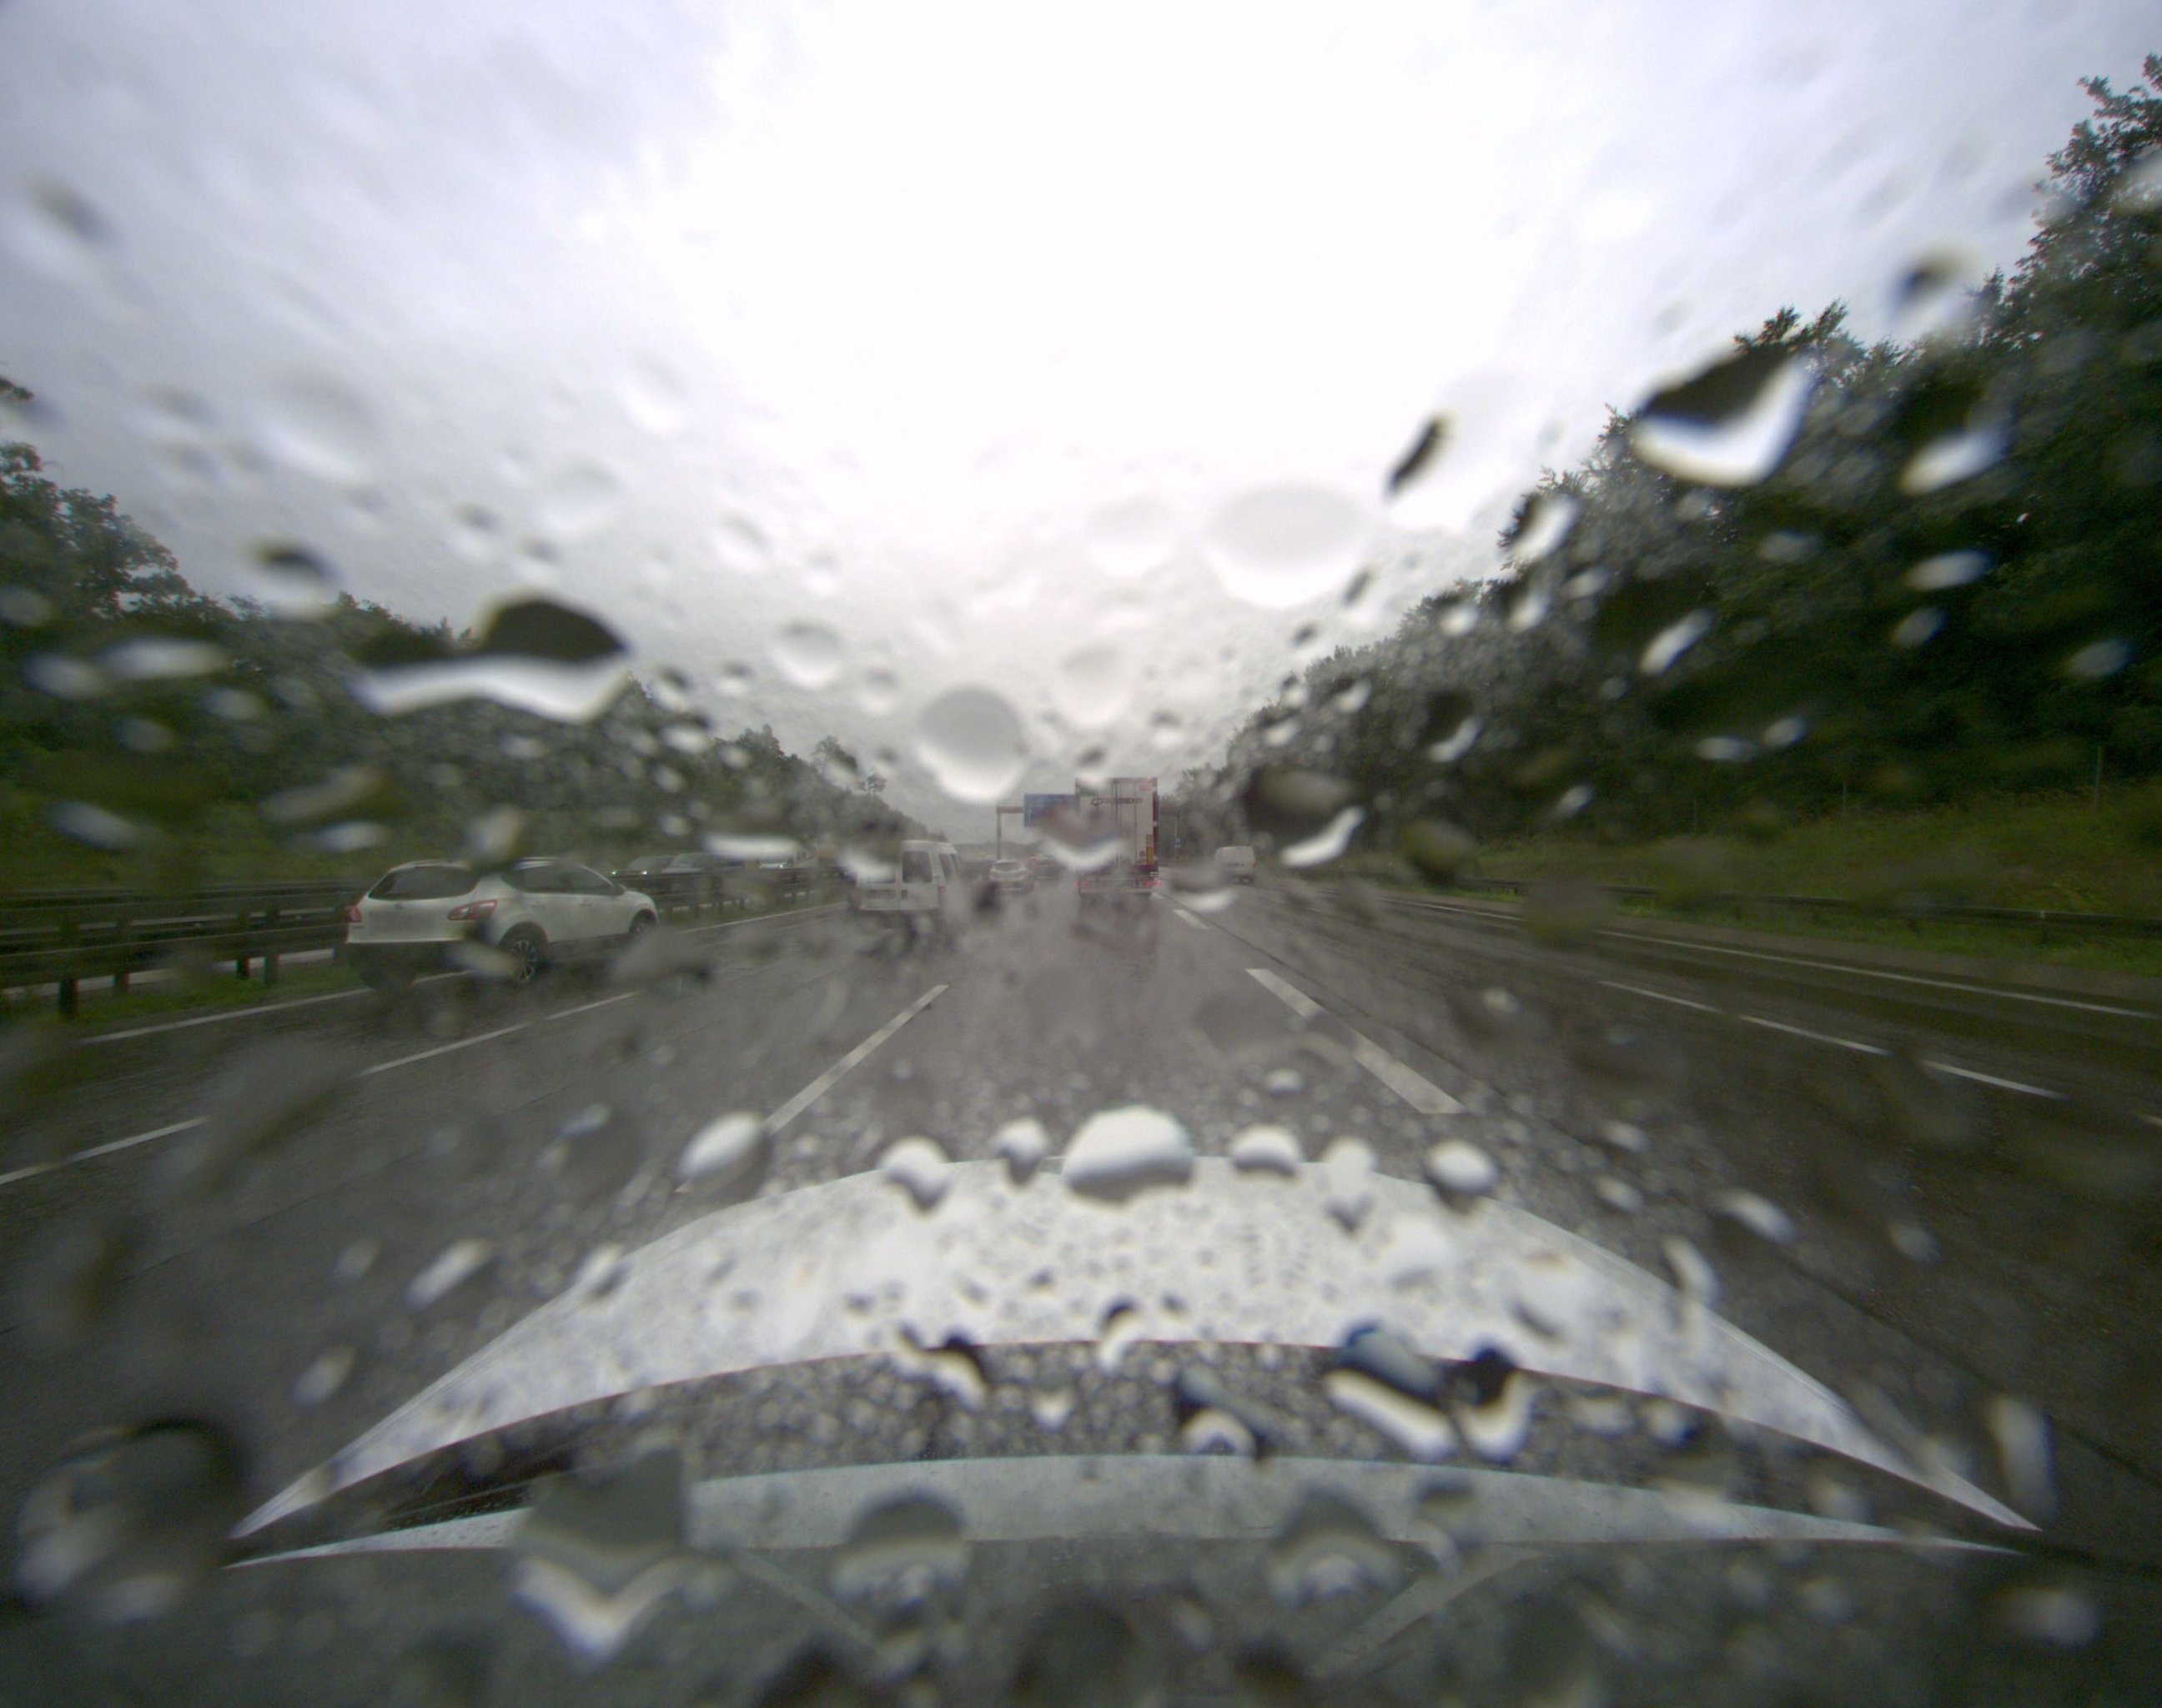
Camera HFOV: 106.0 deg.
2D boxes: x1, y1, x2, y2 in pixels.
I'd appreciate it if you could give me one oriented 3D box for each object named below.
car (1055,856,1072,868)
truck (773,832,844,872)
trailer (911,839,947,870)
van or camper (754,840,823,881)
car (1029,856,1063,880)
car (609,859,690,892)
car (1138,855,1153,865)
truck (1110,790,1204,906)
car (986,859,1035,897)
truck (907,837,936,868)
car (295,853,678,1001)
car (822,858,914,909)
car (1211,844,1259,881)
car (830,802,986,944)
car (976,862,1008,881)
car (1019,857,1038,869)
[{"bbox_3d":[-2.107,0.989,98.587,1.839,1.330,4.468,0,0,1],"label":"car"},{"bbox_3d":[-25.288,-0.164,76.233,2.510,3.483,11.721,-1,0,1],"label":"truck"},{"bbox_3d":[-21.472,0.085,115.863,2.532,4.025,13.846,0,0,0],"label":"trailer"},{"bbox_3d":[-21.571,0.455,60.482,2.159,2.870,8.001,0,0,0],"label":"van or camper"},{"bbox_3d":[-2.450,0.941,57.770,1.837,1.591,4.472,0,0,4],"label":"car"},{"bbox_3d":[-21.466,1.033,40.721,1.839,1.579,4.001,0,0,1],"label":"car"},{"bbox_3d":[8.971,0.861,113.756,1.784,1.407,4.228,0,0,0],"label":"car"},{"bbox_3d":[2.740,-0.141,30.793,2.860,3.562,11.313,0,0,4],"label":"truck"},{"bbox_3d":[-3.163,1.062,37.315,1.839,1.591,4.072,0,0,1],"label":"car"},{"bbox_3d":[-21.362,-0.164,109.522,2.532,4.025,6.323,0,0,0],"label":"truck"},{"bbox_3d":[-7.634,0.799,11.168,1.838,1.591,4.468,0,0,2],"label":"car"},{"bbox_3d":[-7.280,0.957,28.336,1.838,1.591,4.469,0,0,2],"label":"car"},{"bbox_3d":[8.447,0.454,45.034,1.981,1.921,4.772,0,0,3],"label":"car"},{"bbox_3d":[-3.448,0.328,17.347,2.206,2.573,5.015,0,0,0],"label":"car"},{"bbox_3d":[-6.904,1.334,63.582,1.839,1.330,4.468,0,0,1],"label":"car"},{"bbox_3d":[-6.146,1.025,96.042,1.839,1.330,4.468,0,0,1],"label":"car"}]
